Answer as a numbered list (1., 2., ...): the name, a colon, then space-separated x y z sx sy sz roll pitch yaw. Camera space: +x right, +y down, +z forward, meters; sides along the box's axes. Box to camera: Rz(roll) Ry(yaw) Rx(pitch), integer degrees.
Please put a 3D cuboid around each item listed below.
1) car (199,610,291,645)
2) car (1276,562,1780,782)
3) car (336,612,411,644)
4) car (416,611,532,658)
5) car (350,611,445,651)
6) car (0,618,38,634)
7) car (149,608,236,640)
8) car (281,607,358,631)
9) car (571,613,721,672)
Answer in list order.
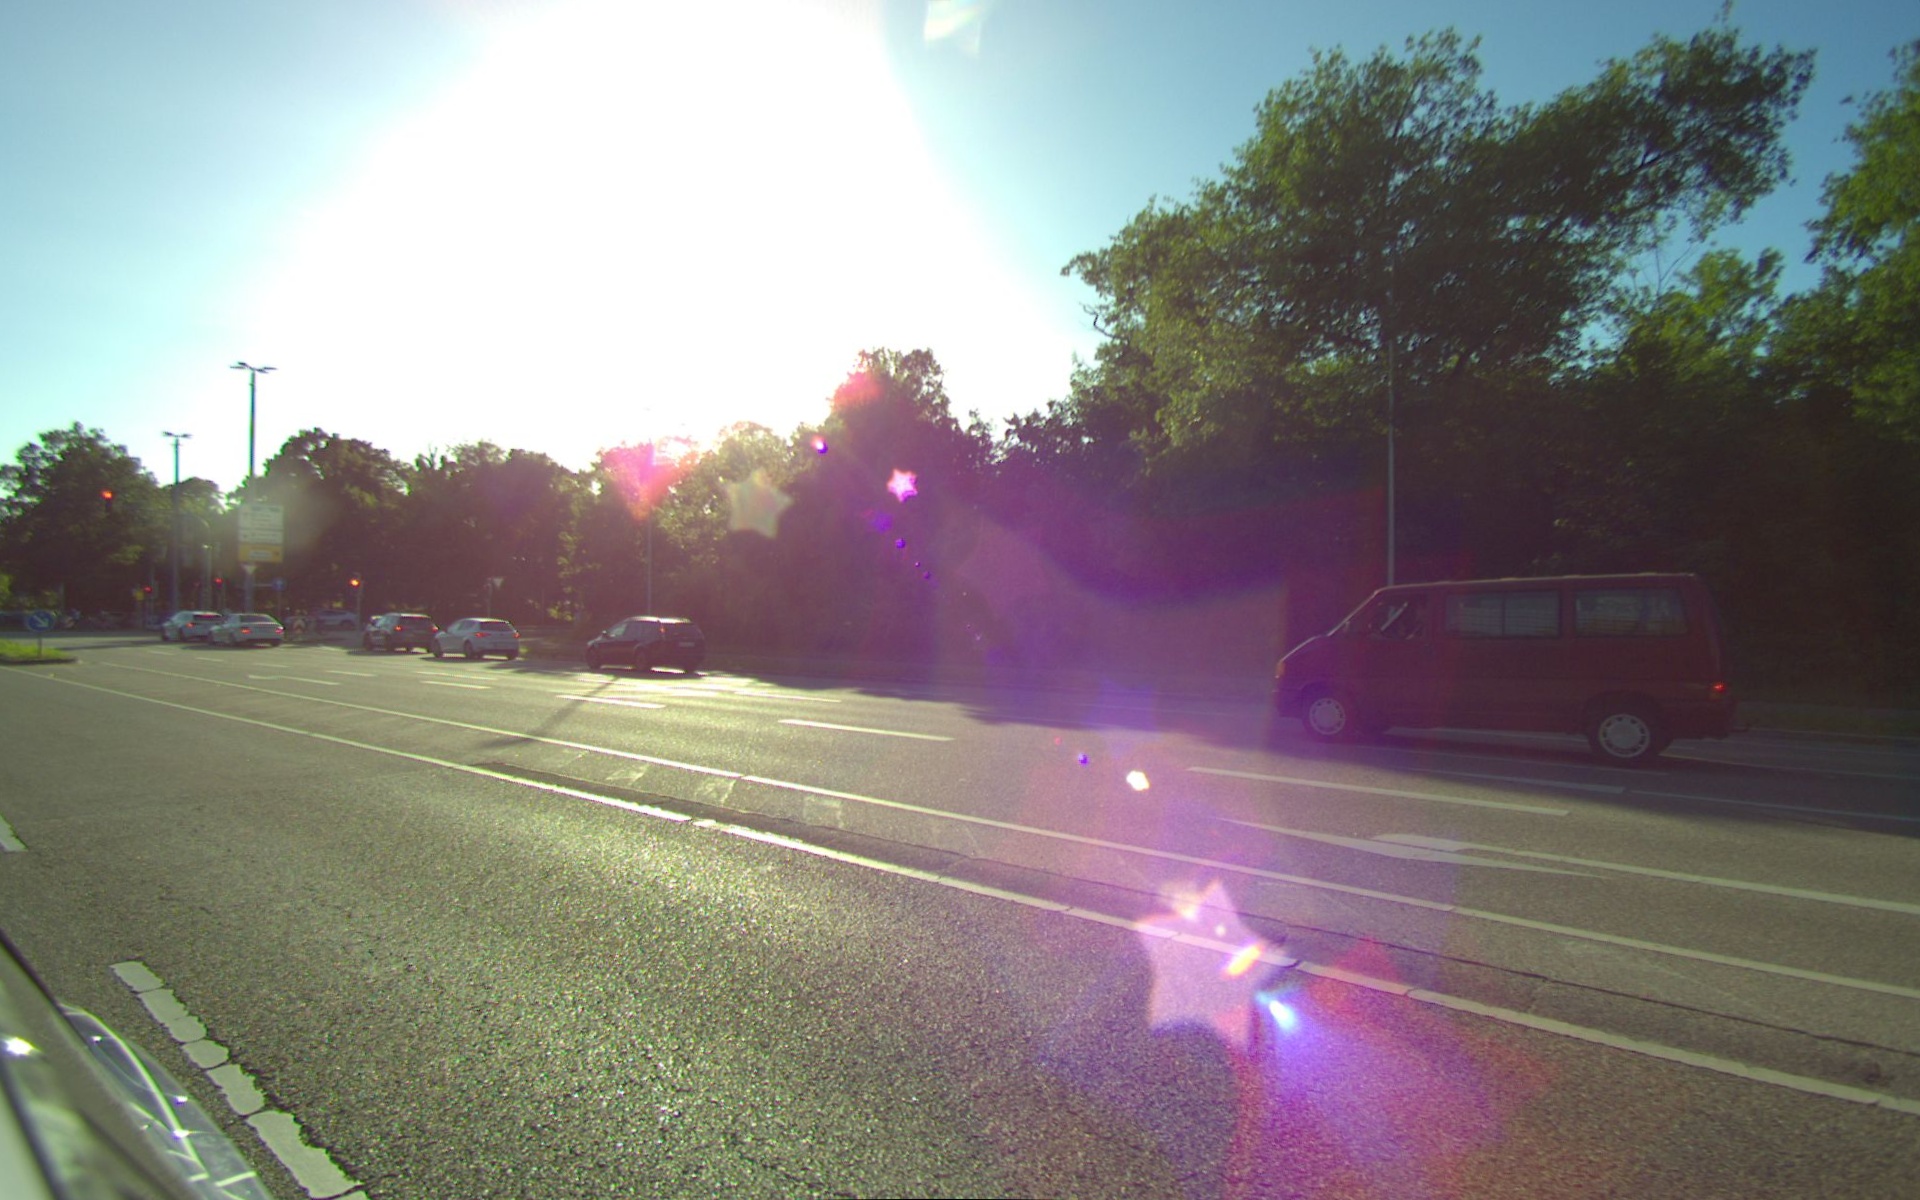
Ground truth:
1. car: -31.016 1.184 43.873 4.642 1.462 1.974 0 -2 38
2. car: 6.186 0.697 11.368 4.645 1.977 1.973 -1 -3 41
3. car: -28.006 1.315 48.505 1.966 1.462 4.661 1 -1 -15
4. car: -17.876 1.261 37.176 4.642 1.576 1.974 0 -4 39
5. car: -23.727 1.292 42.631 4.645 1.576 1.973 -1 -4 41
6. car: -97.735 2.711 104.056 1.988 1.530 3.968 0 0 23
7. car: -36.904 1.133 48.631 4.832 1.462 1.976 0 -2 36
8. car: -46.734 1.389 73.922 4.662 1.700 2.006 1 -1 -32
9. car: -9.204 1.212 29.496 4.645 1.576 1.973 -1 -4 41
